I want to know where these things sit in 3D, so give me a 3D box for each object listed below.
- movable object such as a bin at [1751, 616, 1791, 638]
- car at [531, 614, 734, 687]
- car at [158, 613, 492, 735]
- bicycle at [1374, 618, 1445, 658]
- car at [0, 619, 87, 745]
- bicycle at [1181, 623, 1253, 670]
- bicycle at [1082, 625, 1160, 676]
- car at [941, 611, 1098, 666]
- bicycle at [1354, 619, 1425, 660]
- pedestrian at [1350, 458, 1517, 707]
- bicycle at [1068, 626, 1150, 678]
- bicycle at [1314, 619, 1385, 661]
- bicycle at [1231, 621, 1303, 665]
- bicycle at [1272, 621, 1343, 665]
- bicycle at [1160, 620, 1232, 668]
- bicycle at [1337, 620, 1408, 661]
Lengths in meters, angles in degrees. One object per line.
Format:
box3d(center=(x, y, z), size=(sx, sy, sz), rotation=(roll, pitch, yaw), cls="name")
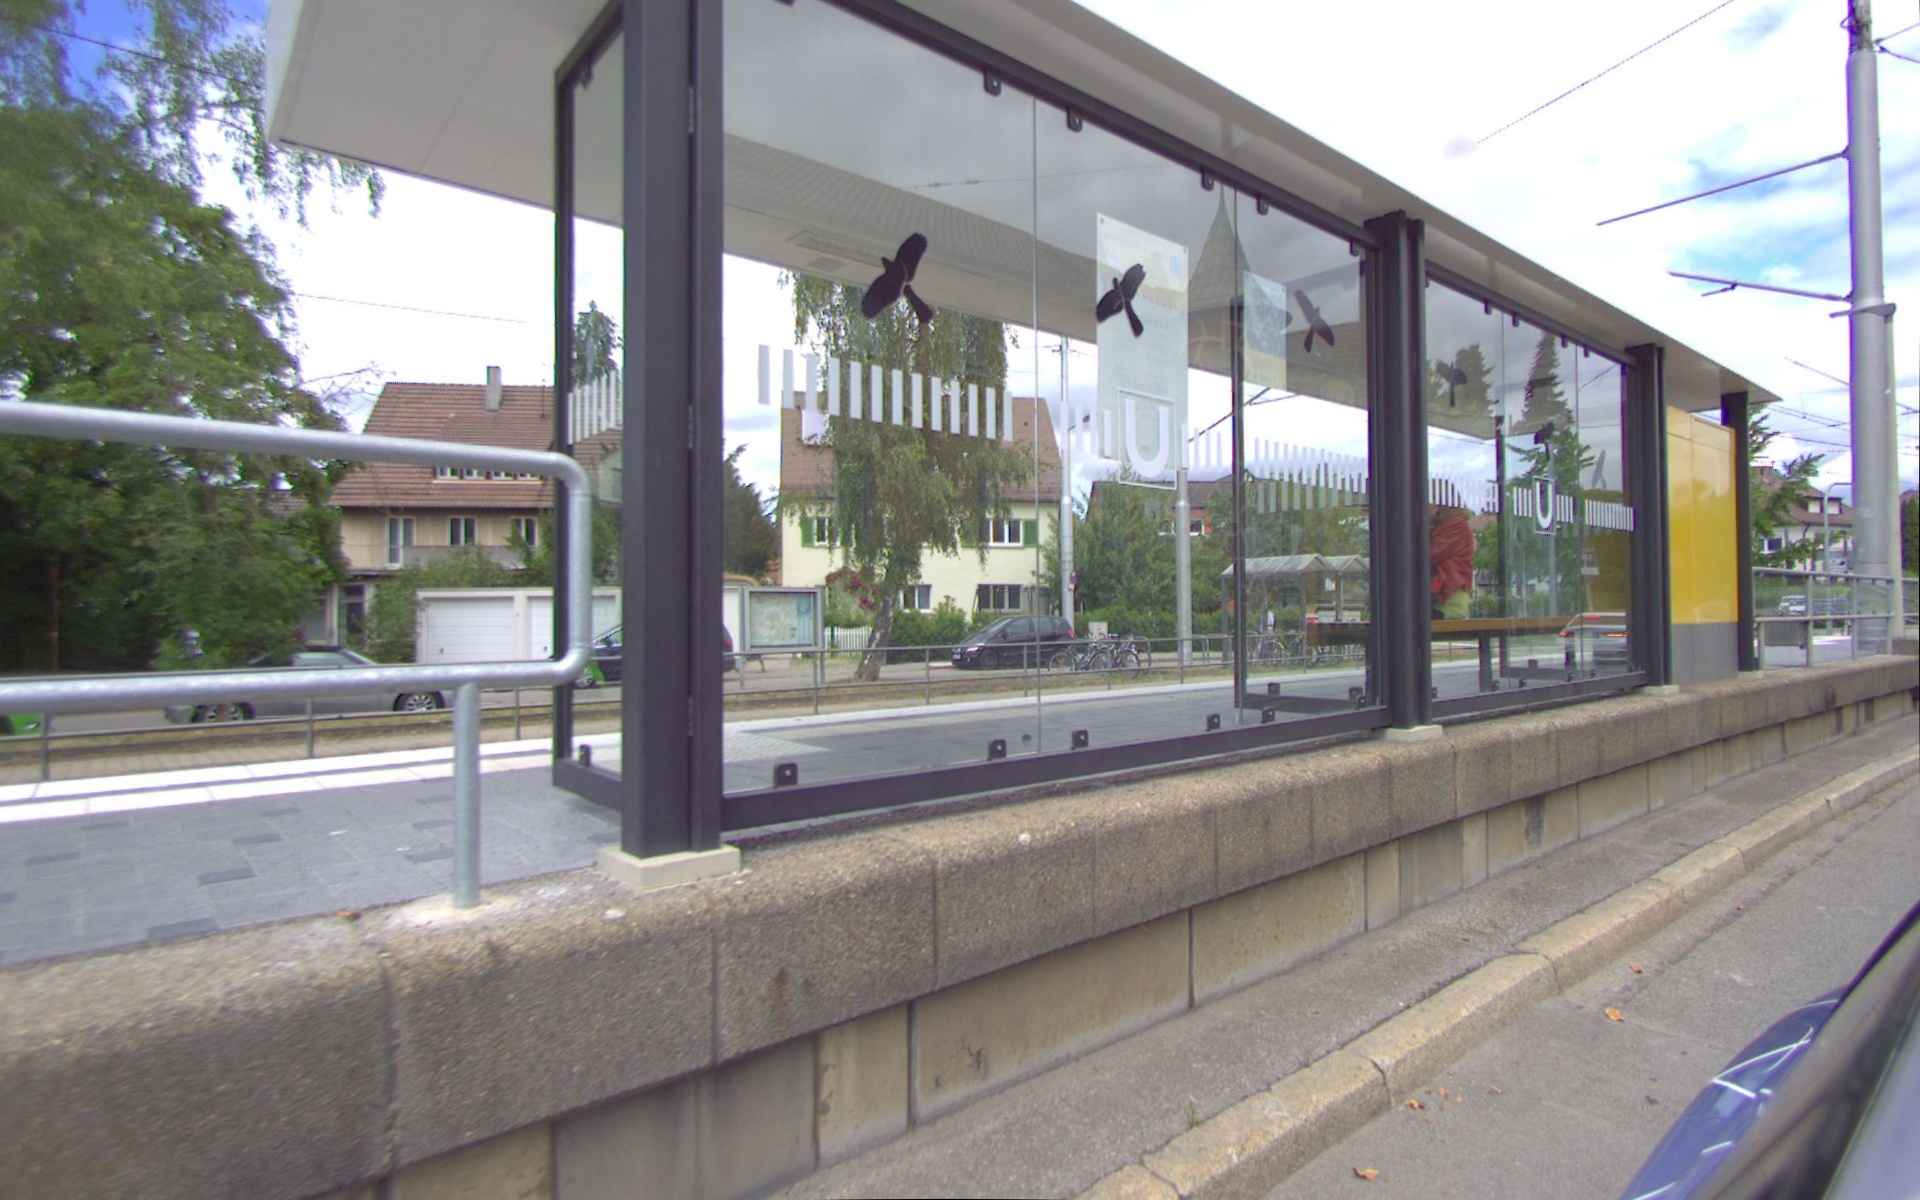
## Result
box3d(center=(31.801, 1.042, 39.685), size=(1.072, 0.835, 0.580), rotation=(-1, -1, -5), cls="movable object such as a bin")
box3d(center=(-8.264, 1.225, 25.610), size=(4.738, 1.657, 1.824), rotation=(0, -1, -22), cls="car")
box3d(center=(-9.771, 1.034, 15.744), size=(4.182, 1.594, 2.068), rotation=(0, -1, -37), cls="car")
box3d(center=(12.361, 1.029, 27.881), size=(0.546, 1.055, 1.772), rotation=(0, -1, -30), cls="bicycle")
box3d(center=(-13.690, 1.065, 12.766), size=(3.926, 1.594, 1.734), rotation=(0, -1, -37), cls="car")
box3d(center=(6.077, 1.084, 24.045), size=(0.546, 1.055, 1.772), rotation=(0, -1, -30), cls="bicycle")
box3d(center=(3.508, 1.087, 22.173), size=(0.547, 1.055, 1.768), rotation=(0, -1, -40), cls="bicycle")
box3d(center=(1.795, 1.116, 30.282), size=(4.330, 1.505, 1.824), rotation=(0, -1, -25), cls="car")
box3d(center=(11.604, 1.060, 27.422), size=(0.546, 1.055, 1.772), rotation=(0, -1, -30), cls="bicycle")
box3d(center=(2.717, -0.092, 5.806), size=(0.707, 1.315, 0.621), rotation=(0, -1, -42), cls="pedestrian")
box3d(center=(3.136, 1.077, 21.425), size=(0.547, 1.055, 1.767), rotation=(0, -2, -41), cls="bicycle")
box3d(center=(10.245, 1.051, 26.686), size=(0.546, 1.055, 1.772), rotation=(0, -1, -30), cls="bicycle")
box3d(center=(7.578, 1.050, 25.040), size=(0.546, 1.055, 1.772), rotation=(0, -1, -30), cls="bicycle")
box3d(center=(8.875, 1.083, 25.897), size=(0.546, 1.055, 1.772), rotation=(0, -1, -30), cls="bicycle")
box3d(center=(5.504, 1.011, 23.720), size=(0.546, 1.055, 1.772), rotation=(0, -1, -30), cls="bicycle")
box3d(center=(11.001, 1.072, 27.057), size=(0.546, 1.055, 1.772), rotation=(0, -1, -30), cls="bicycle")
